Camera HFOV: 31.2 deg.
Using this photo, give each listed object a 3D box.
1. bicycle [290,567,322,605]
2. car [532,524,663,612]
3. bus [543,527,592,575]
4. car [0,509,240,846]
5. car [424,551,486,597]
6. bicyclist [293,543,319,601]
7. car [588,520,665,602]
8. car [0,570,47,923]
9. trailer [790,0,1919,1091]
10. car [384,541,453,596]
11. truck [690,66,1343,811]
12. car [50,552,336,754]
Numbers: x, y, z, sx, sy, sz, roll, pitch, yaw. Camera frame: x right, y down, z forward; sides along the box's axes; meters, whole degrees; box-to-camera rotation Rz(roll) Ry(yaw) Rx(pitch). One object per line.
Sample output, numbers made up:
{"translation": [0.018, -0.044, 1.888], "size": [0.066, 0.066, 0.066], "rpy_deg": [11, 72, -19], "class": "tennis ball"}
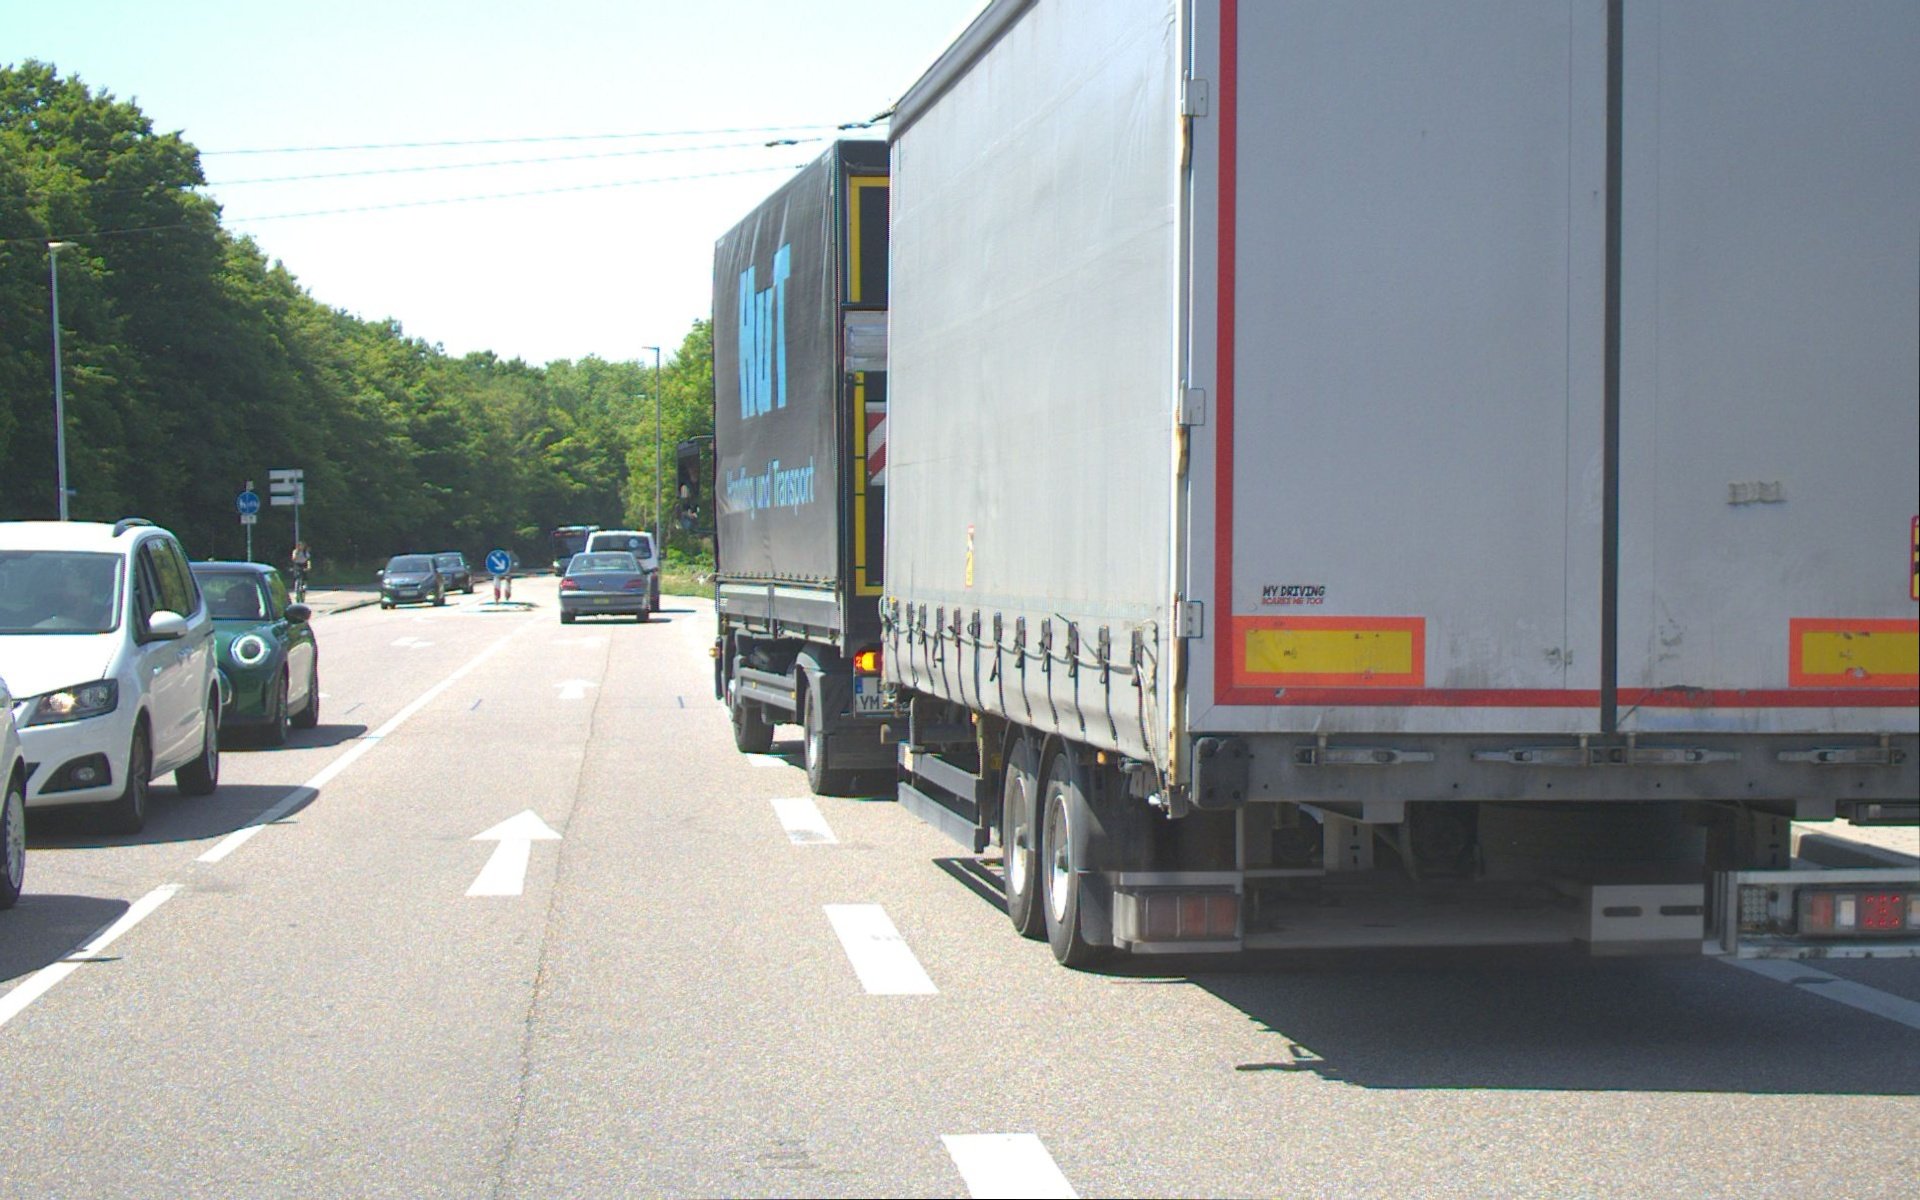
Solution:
{"translation": [-19.185, -0.410, 100.895], "size": [0.669, 1.051, 2.046], "rpy_deg": [0, 2, -4], "class": "bicycle"}
{"translation": [-7.087, -0.655, 67.590], "size": [2.025, 1.626, 4.000], "rpy_deg": [-1, 1, 1], "class": "car"}
{"translation": [-27.520, -3.501, 241.612], "size": [2.749, 3.034, 11.941], "rpy_deg": [-4, 2, -4], "class": "bus"}
{"translation": [-5.404, 0.345, 19.960], "size": [1.811, 1.717, 4.832], "rpy_deg": [-1, 1, -5], "class": "car"}
{"translation": [-17.341, -0.898, 118.177], "size": [1.743, 1.400, 4.442], "rpy_deg": [-2, 2, -4], "class": "car"}
{"translation": [-19.184, -0.830, 100.885], "size": [0.664, 1.700, 0.769], "rpy_deg": [0, 1, -4], "class": "bicyclist"}
{"translation": [-8.061, -0.953, 83.284], "size": [1.655, 1.900, 4.001], "rpy_deg": [-1, 1, -3], "class": "car"}
{"translation": [-4.732, 0.623, 13.225], "size": [1.767, 1.433, 3.962], "rpy_deg": [0, 1, -6], "class": "car"}
{"translation": [1.182, -0.785, 14.516], "size": [3.076, 4.056, 9.811], "rpy_deg": [-1, 1, -7], "class": "trailer"}
{"translation": [-15.244, -0.907, 96.945], "size": [1.622, 1.451, 3.502], "rpy_deg": [-3, 1, -5], "class": "car"}
{"translation": [0.029, -0.972, 22.900], "size": [3.076, 4.056, 7.961], "rpy_deg": [-1, 1, -8], "class": "truck"}
{"translation": [-6.107, 0.367, 27.757], "size": [1.722, 1.457, 3.991], "rpy_deg": [-1, 1, -5], "class": "car"}
